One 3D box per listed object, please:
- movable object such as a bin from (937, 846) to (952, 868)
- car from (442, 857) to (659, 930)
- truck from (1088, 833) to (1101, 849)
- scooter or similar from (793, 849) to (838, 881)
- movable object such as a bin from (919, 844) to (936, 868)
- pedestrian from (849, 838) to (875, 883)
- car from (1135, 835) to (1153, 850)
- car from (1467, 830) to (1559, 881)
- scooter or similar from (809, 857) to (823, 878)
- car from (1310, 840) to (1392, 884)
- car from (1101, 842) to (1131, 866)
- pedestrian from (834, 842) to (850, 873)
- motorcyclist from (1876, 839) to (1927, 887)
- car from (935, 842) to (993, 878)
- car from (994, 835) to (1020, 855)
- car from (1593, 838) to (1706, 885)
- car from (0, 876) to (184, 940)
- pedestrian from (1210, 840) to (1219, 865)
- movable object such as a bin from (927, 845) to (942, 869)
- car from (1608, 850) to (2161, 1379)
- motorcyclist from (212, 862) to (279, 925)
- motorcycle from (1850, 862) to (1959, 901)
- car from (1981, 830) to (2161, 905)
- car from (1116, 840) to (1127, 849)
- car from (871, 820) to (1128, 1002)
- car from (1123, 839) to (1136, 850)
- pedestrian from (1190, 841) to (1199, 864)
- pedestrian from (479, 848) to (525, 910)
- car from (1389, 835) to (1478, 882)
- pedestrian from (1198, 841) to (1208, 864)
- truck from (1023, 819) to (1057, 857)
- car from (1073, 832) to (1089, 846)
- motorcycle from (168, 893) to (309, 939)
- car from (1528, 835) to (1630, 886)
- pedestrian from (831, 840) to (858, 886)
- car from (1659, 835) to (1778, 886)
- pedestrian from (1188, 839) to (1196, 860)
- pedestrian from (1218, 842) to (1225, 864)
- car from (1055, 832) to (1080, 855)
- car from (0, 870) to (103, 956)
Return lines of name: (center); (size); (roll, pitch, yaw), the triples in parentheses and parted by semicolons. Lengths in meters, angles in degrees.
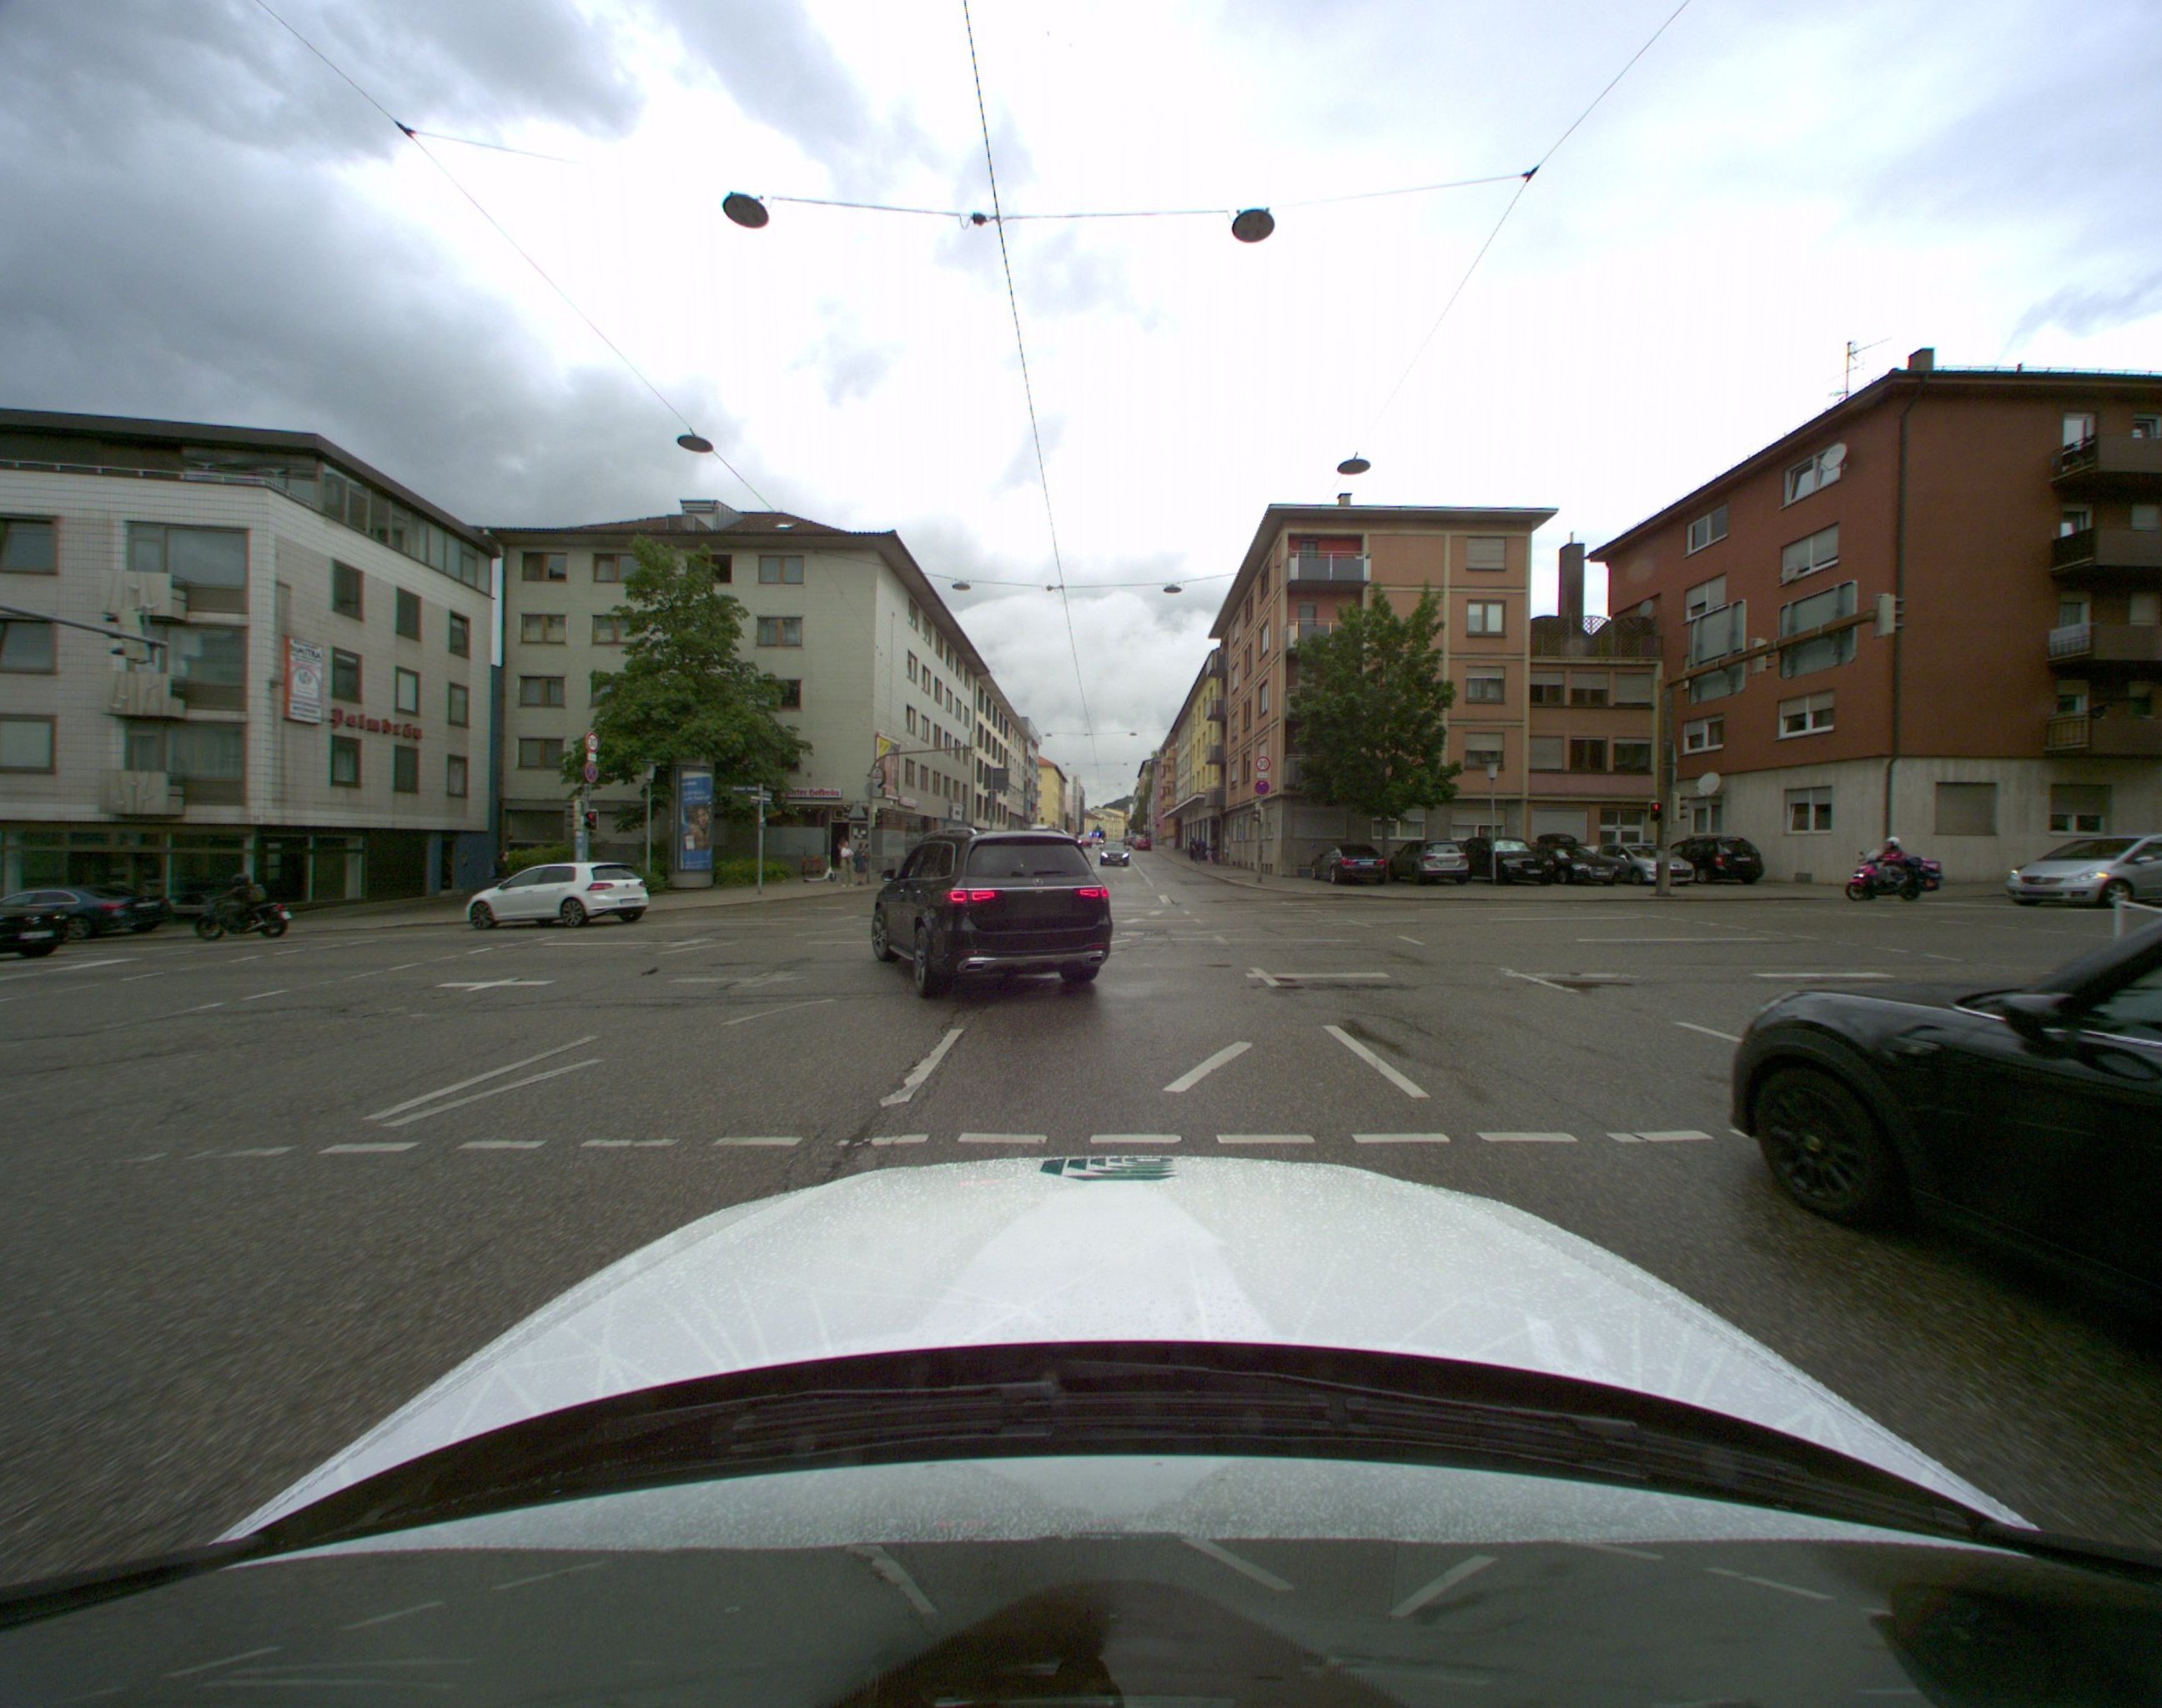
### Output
movable object such as a bin: (-8.337, 0.168, 49.693); (0.695, 1.315, 0.782); (2, -1, 0)
car: (-12.436, 0.914, 19.144); (4.330, 1.461, 1.844); (-3, 0, 17)
truck: (3.338, -3.232, 206.218); (2.795, 3.833, 8.151); (2, -1, 4)
scooter or similar: (-10.346, 0.440, 31.749); (1.565, 1.190, 0.496); (2, -1, -28)
movable object such as a bin: (-8.489, 0.120, 45.029); (0.695, 1.315, 0.782); (2, -1, 0)
pedestrian: (-8.378, 0.245, 31.091); (0.713, 1.646, 0.751); (1, 3, -35)
car: (7.492, -1.334, 96.463); (2.007, 1.562, 5.160); (2, -1, 4)
car: (15.797, 0.048, 30.003); (1.973, 1.719, 4.014); (-1, 0, 13)
scooter or similar: (-10.933, 0.541, 33.615); (0.460, 0.843, 1.313); (2, -1, -21)
car: (10.230, 0.279, 31.209); (1.836, 1.554, 4.800); (0, 0, 3)
car: (2.263, -0.003, 52.504); (1.837, 1.489, 4.002); (0, 0, 2)
pedestrian: (-11.179, 0.156, 38.055); (0.517, 1.400, 0.578); (2, -1, -2)
motorcyclist: (21.318, 0.232, 21.159); (0.655, 1.224, 0.653); (-2, 0, -6)
car: (-5.185, 0.262, 36.623); (1.837, 1.512, 4.002); (-1, 0, 2)
car: (-6.110, -0.714, 67.781); (1.717, 1.603, 4.001); (0, 0, 1)
car: (20.769, 0.290, 29.942); (1.661, 1.582, 4.006); (2, -1, 6)
car: (-27.584, 1.466, 21.977); (4.359, 1.391, 1.766); (-3, 3, -7)
pedestrian: (8.564, -0.095, 52.234); (0.477, 1.565, 0.558); (2, 3, 2)
movable object such as a bin: (-8.432, 0.180, 46.957); (0.695, 1.315, 0.782); (2, -1, 0)
car: (3.774, 0.706, 2.526); (1.655, 1.420, 4.072); (-2, -1, 1)
motorcyclist: (-20.102, 0.928, 19.615); (0.744, 1.453, 0.904); (0, 0, -11)
motorcycle: (21.392, 0.707, 21.171); (2.354, 0.927, 0.636); (-2, -1, -6)
car: (22.949, 0.268, 18.024); (3.972, 1.554, 1.841); (-1, 0, 1)
car: (8.025, -1.850, 162.570); (2.007, 1.562, 4.004); (2, -1, 4)
car: (-1.322, 0.571, 10.374); (2.029, 1.739, 4.712); (0, -1, -22)
car: (7.666, -1.473, 128.375); (2.007, 1.562, 4.004); (2, -1, 4)
pedestrian: (7.682, -0.120, 55.167); (0.518, 1.538, 0.569); (2, 3, 2)
pedestrian: (-17.650, 0.751, 24.837); (0.906, 1.817, 0.760); (1, 3, 29)
car: (13.090, 0.156, 30.532); (1.976, 1.660, 4.007); (0, 0, 6)
pedestrian: (8.262, -0.106, 55.166); (0.518, 1.518, 0.569); (2, 3, 2)
truck: (-4.502, -1.729, 92.105); (2.795, 3.833, 8.151); (2, -1, 4)
car: (0.034, -1.847, 101.146); (1.836, 1.674, 4.003); (0, 0, 3)
motorcycle: (-20.198, 1.476, 19.588); (2.246, 1.006, 0.862); (0, 0, -12)
car: (18.350, 0.212, 30.226); (1.784, 1.698, 4.009); (1, 0, 8)
pedestrian: (-8.777, 0.317, 30.219); (0.713, 1.646, 0.751); (1, 3, -35)
car: (23.563, 0.265, 30.314); (1.980, 1.706, 4.014); (2, -1, 13)
pedestrian: (8.448, -0.325, 62.069); (0.518, 1.555, 0.569); (2, 3, 2)
pedestrian: (9.025, -0.065, 52.222); (0.362, 1.398, 0.370); (2, 3, 2)
car: (-1.302, -0.996, 80.501); (2.056, 2.241, 4.623); (0, 0, 3)
car: (-22.259, 1.242, 15.690); (4.354, 1.537, 1.823); (-3, 1, -3)
